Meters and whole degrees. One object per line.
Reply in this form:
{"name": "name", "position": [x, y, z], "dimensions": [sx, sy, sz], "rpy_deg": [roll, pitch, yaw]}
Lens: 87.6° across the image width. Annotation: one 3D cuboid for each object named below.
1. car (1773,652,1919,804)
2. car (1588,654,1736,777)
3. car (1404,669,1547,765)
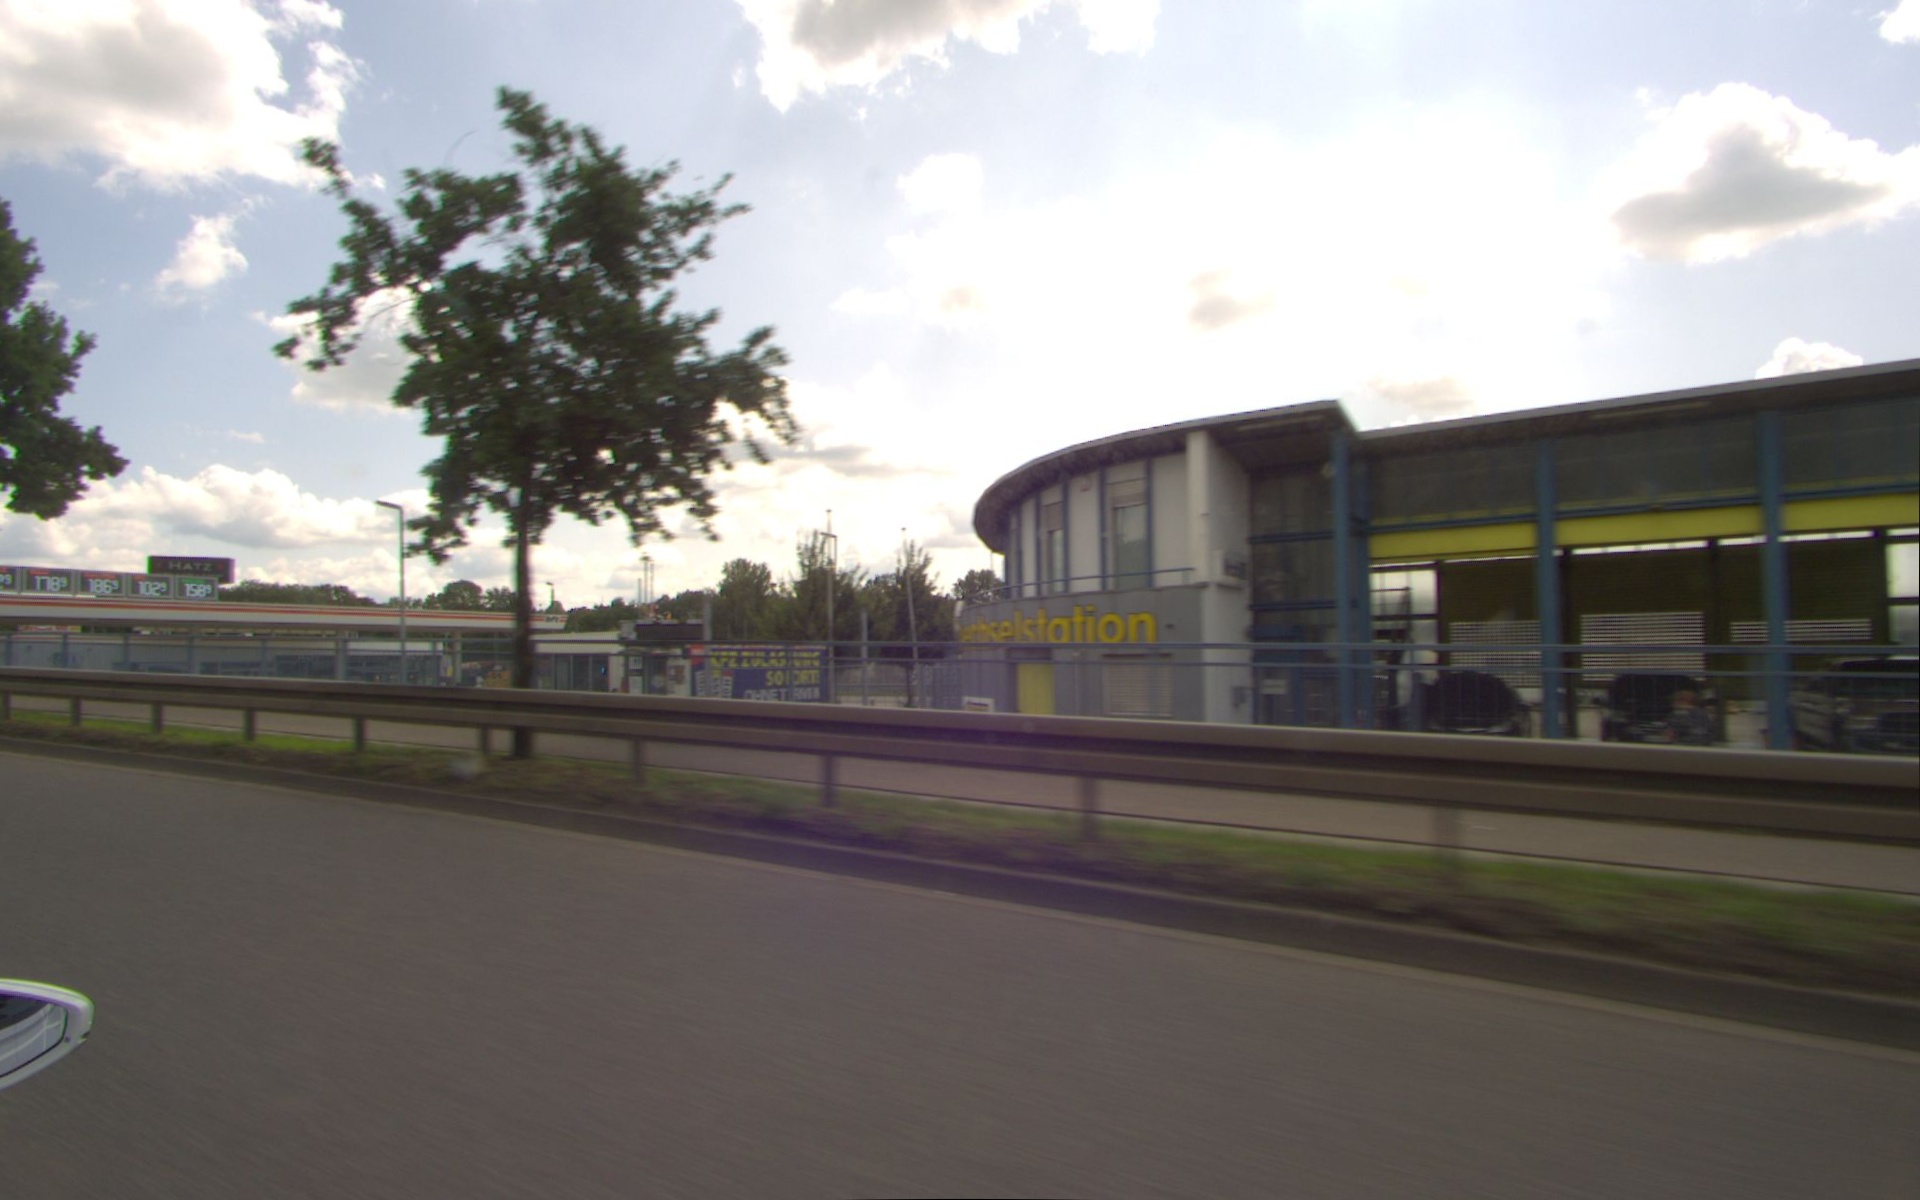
{"name": "car", "position": [15.013, 1.884, 16.038], "dimensions": [2.200, 2.038, 5.796], "rpy_deg": [-2, -4, 31]}
{"name": "car", "position": [14.133, 2.174, 20.232], "dimensions": [2.203, 2.039, 4.760], "rpy_deg": [-1, -2, 35]}
{"name": "car", "position": [11.251, 2.406, 21.686], "dimensions": [2.134, 1.650, 4.760], "rpy_deg": [-1, -2, 35]}
